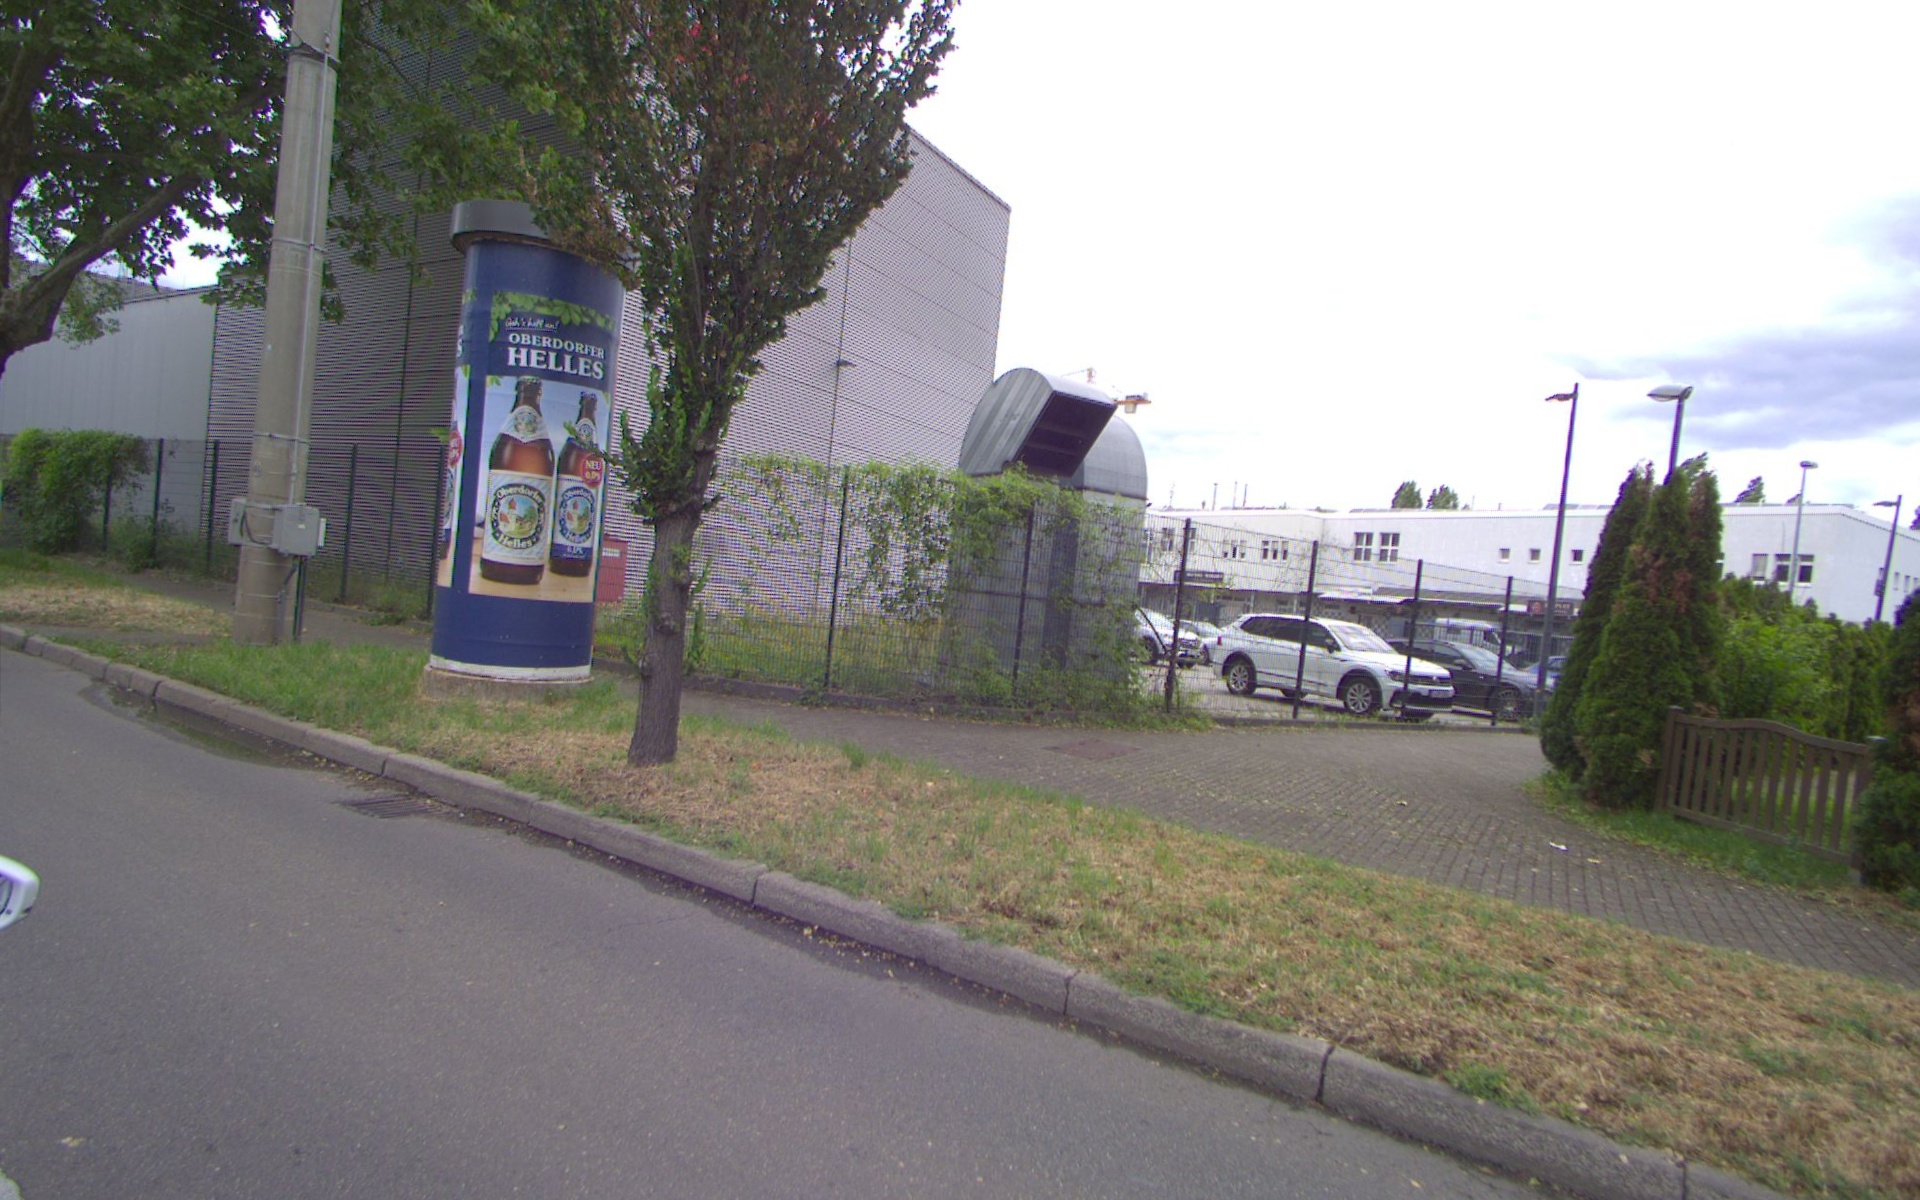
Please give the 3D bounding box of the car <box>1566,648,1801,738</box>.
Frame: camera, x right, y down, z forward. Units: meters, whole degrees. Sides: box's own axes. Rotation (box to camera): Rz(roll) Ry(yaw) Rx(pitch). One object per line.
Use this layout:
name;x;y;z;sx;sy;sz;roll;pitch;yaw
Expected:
car;18.765;2.370;26.311;1.978;1.686;4.464;6;1;-31

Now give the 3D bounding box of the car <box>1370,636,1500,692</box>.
car;19.060;2.545;40.528;1.982;1.668;4.233;8;-2;-34

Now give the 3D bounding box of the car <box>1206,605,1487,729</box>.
car;6.961;1.157;18.647;1.978;1.686;4.464;6;1;-31

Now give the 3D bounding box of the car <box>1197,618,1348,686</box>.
car;10.043;1.641;32.583;1.982;1.668;4.233;8;-2;-34

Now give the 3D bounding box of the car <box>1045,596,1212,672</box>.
car;4.863;0.953;29.583;4.418;1.687;1.999;6;1;-1

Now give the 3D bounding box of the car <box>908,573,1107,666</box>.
car;1.134;0.462;24.225;4.197;1.668;1.999;6;-2;29

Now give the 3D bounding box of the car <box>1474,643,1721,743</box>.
car;15.096;2.161;24.089;1.978;1.686;4.464;6;1;-31

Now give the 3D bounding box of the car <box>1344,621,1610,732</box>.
car;10.627;1.520;21.052;1.978;1.686;4.464;6;1;-31
